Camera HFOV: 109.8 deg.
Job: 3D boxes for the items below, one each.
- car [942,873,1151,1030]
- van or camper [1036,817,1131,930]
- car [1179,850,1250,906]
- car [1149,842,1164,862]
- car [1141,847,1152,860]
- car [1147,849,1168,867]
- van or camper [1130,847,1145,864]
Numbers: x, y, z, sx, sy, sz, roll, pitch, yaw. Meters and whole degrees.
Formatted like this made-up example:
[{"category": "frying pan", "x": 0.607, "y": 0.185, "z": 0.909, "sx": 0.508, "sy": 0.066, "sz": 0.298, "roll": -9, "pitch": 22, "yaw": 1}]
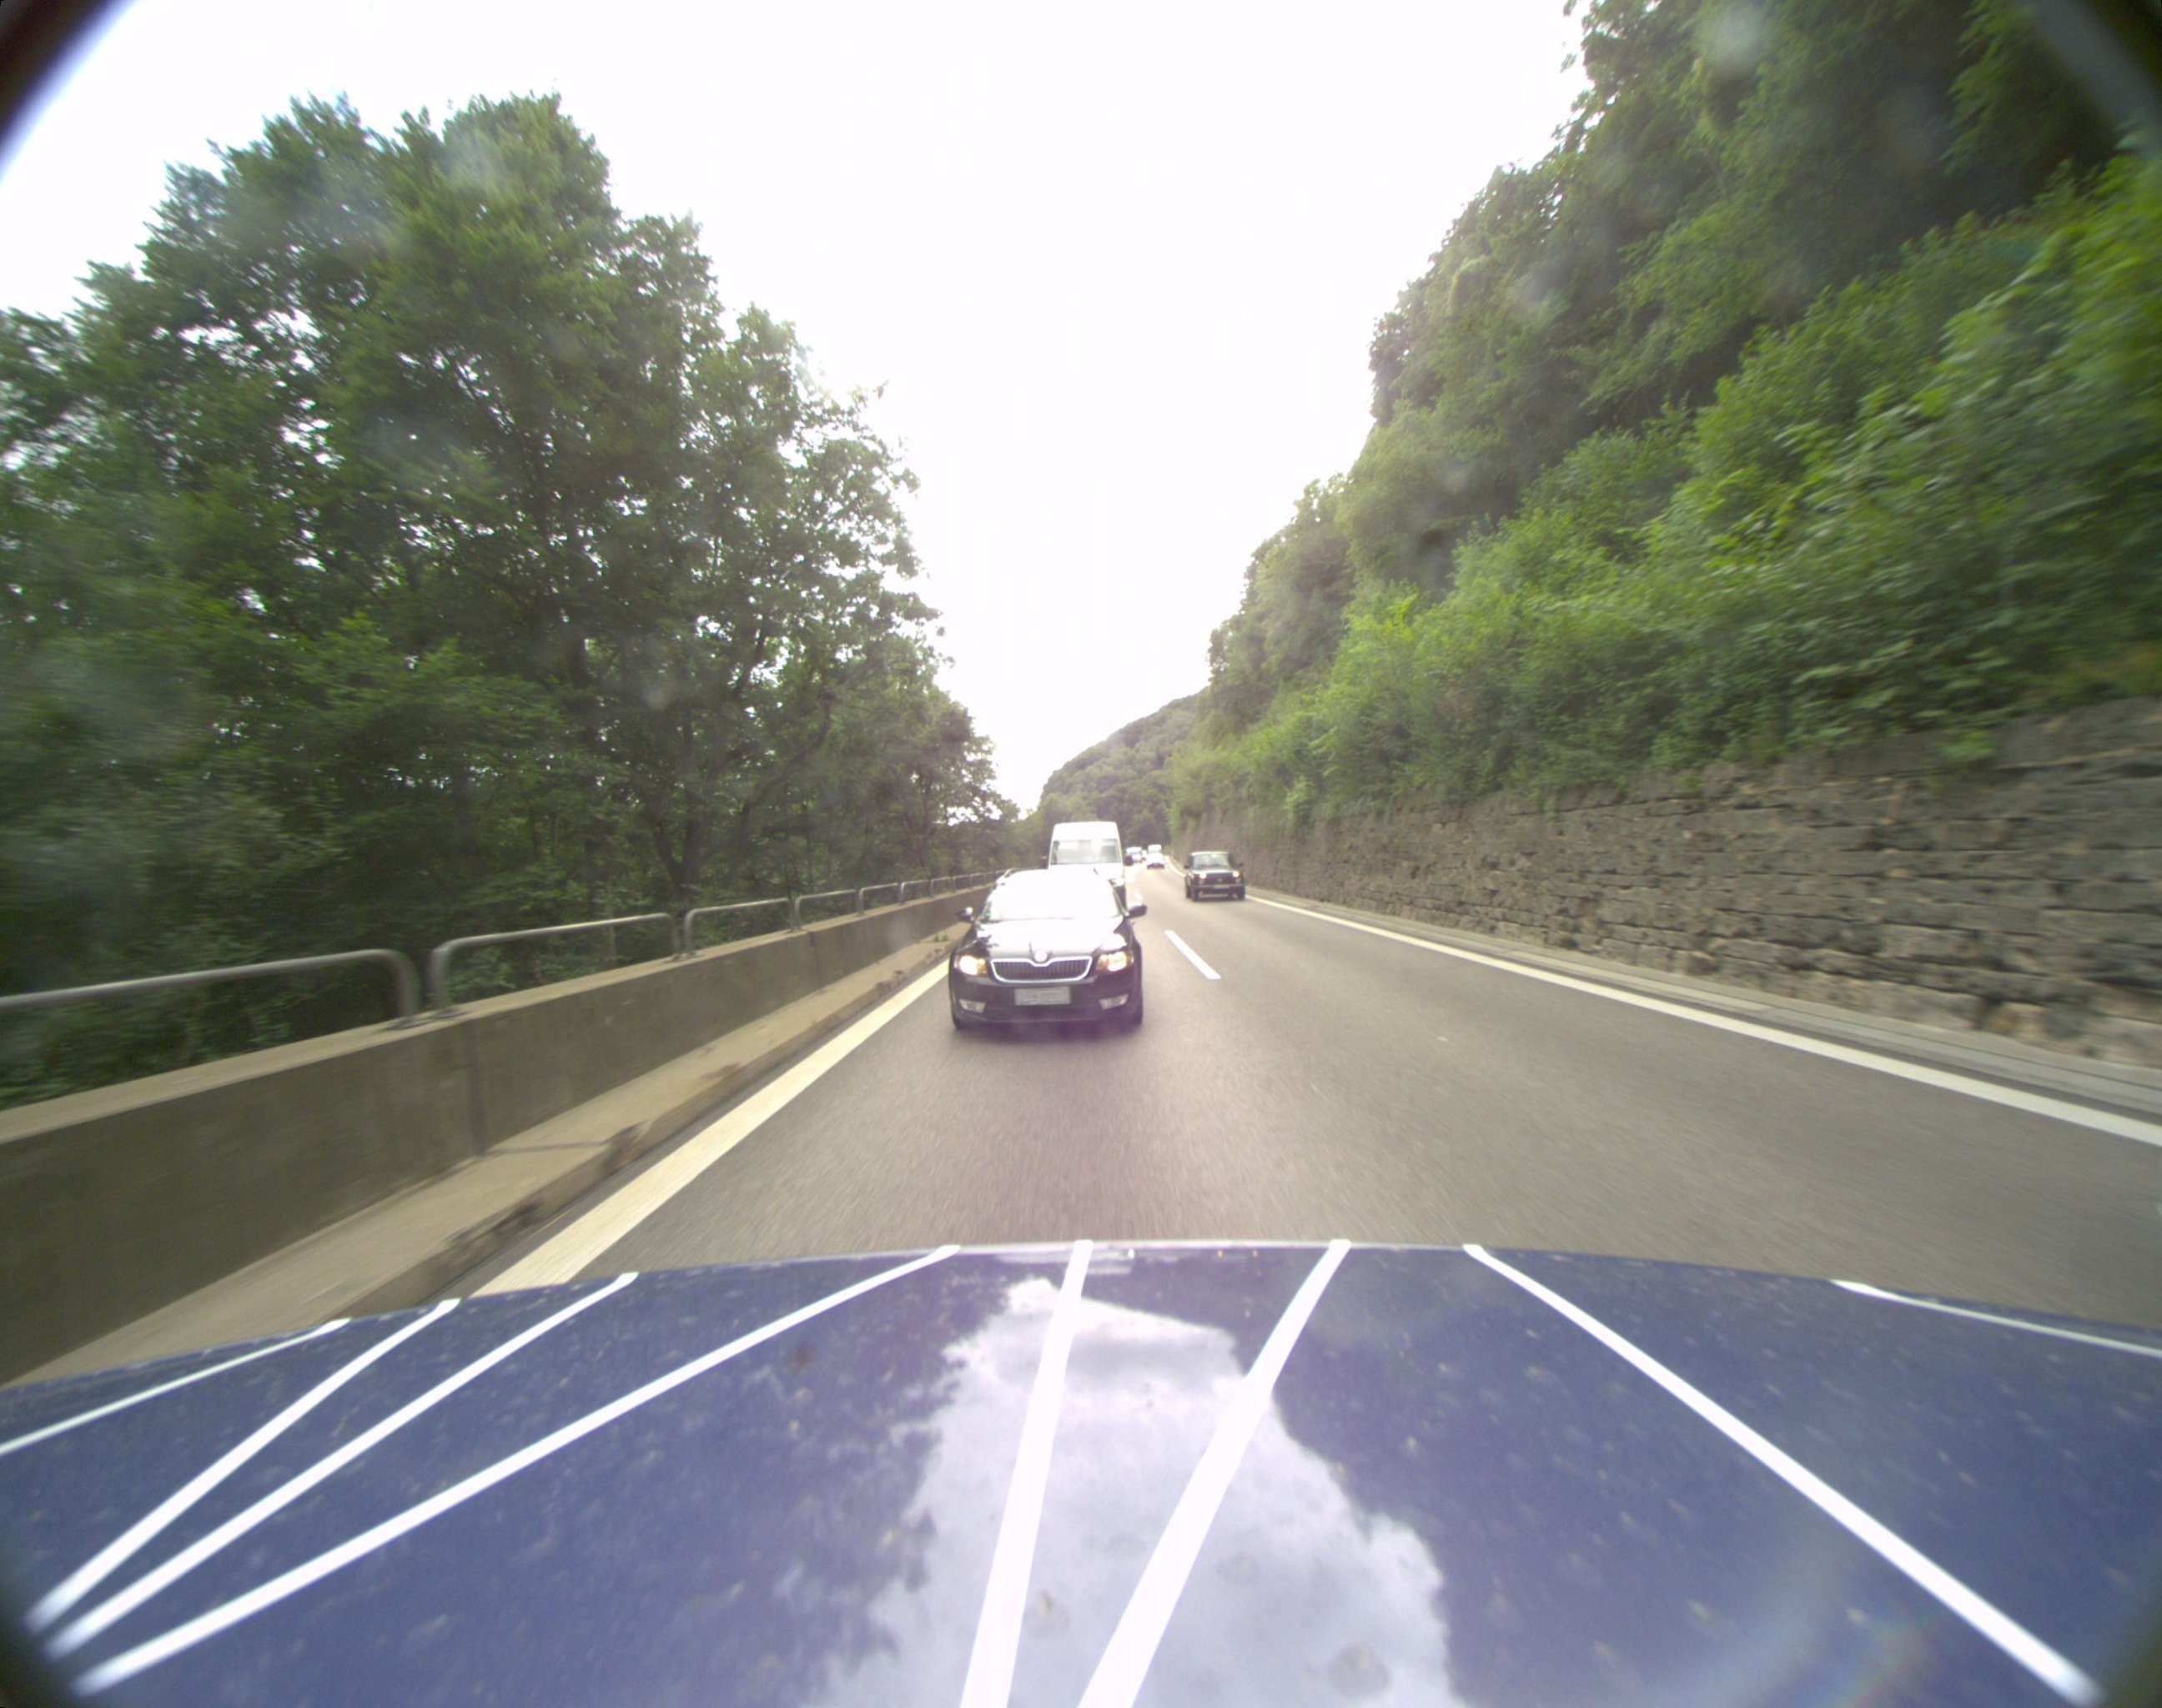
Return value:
[{"category": "car", "x": -0.297, "y": 1.019, "z": 9.955, "sx": 1.998, "sy": 1.389, "sz": 5.009, "roll": -2, "pitch": -1, "yaw": 1}, {"category": "van or camper", "x": 0.143, "y": 0.470, "z": 21.155, "sx": 2.081, "sy": 2.575, "sz": 5.912, "roll": -4, "pitch": 0, "yaw": 2}, {"category": "car", "x": 4.462, "y": 0.744, "z": 26.048, "sx": 1.812, "sy": 1.646, "sz": 4.584, "roll": -3, "pitch": 0, "yaw": 3}, {"category": "car", "x": 10.466, "y": -0.243, "z": 105.527, "sx": 1.975, "sy": 2.628, "sz": 4.584, "roll": -2, "pitch": 0, "yaw": 4}, {"category": "car", "x": 13.237, "y": -0.089, "z": 153.388, "sx": 1.975, "sy": 2.545, "sz": 4.584, "roll": -2, "pitch": 0, "yaw": 4}, {"category": "car", "x": 7.838, "y": 0.390, "z": 78.060, "sx": 1.813, "sy": 1.646, "sz": 4.584, "roll": -3, "pitch": 0, "yaw": 2}, {"category": "van or camper", "x": 9.253, "y": 0.170, "z": 124.341, "sx": 2.269, "sy": 2.527, "sz": 5.912, "roll": -4, "pitch": 1, "yaw": 4}]
